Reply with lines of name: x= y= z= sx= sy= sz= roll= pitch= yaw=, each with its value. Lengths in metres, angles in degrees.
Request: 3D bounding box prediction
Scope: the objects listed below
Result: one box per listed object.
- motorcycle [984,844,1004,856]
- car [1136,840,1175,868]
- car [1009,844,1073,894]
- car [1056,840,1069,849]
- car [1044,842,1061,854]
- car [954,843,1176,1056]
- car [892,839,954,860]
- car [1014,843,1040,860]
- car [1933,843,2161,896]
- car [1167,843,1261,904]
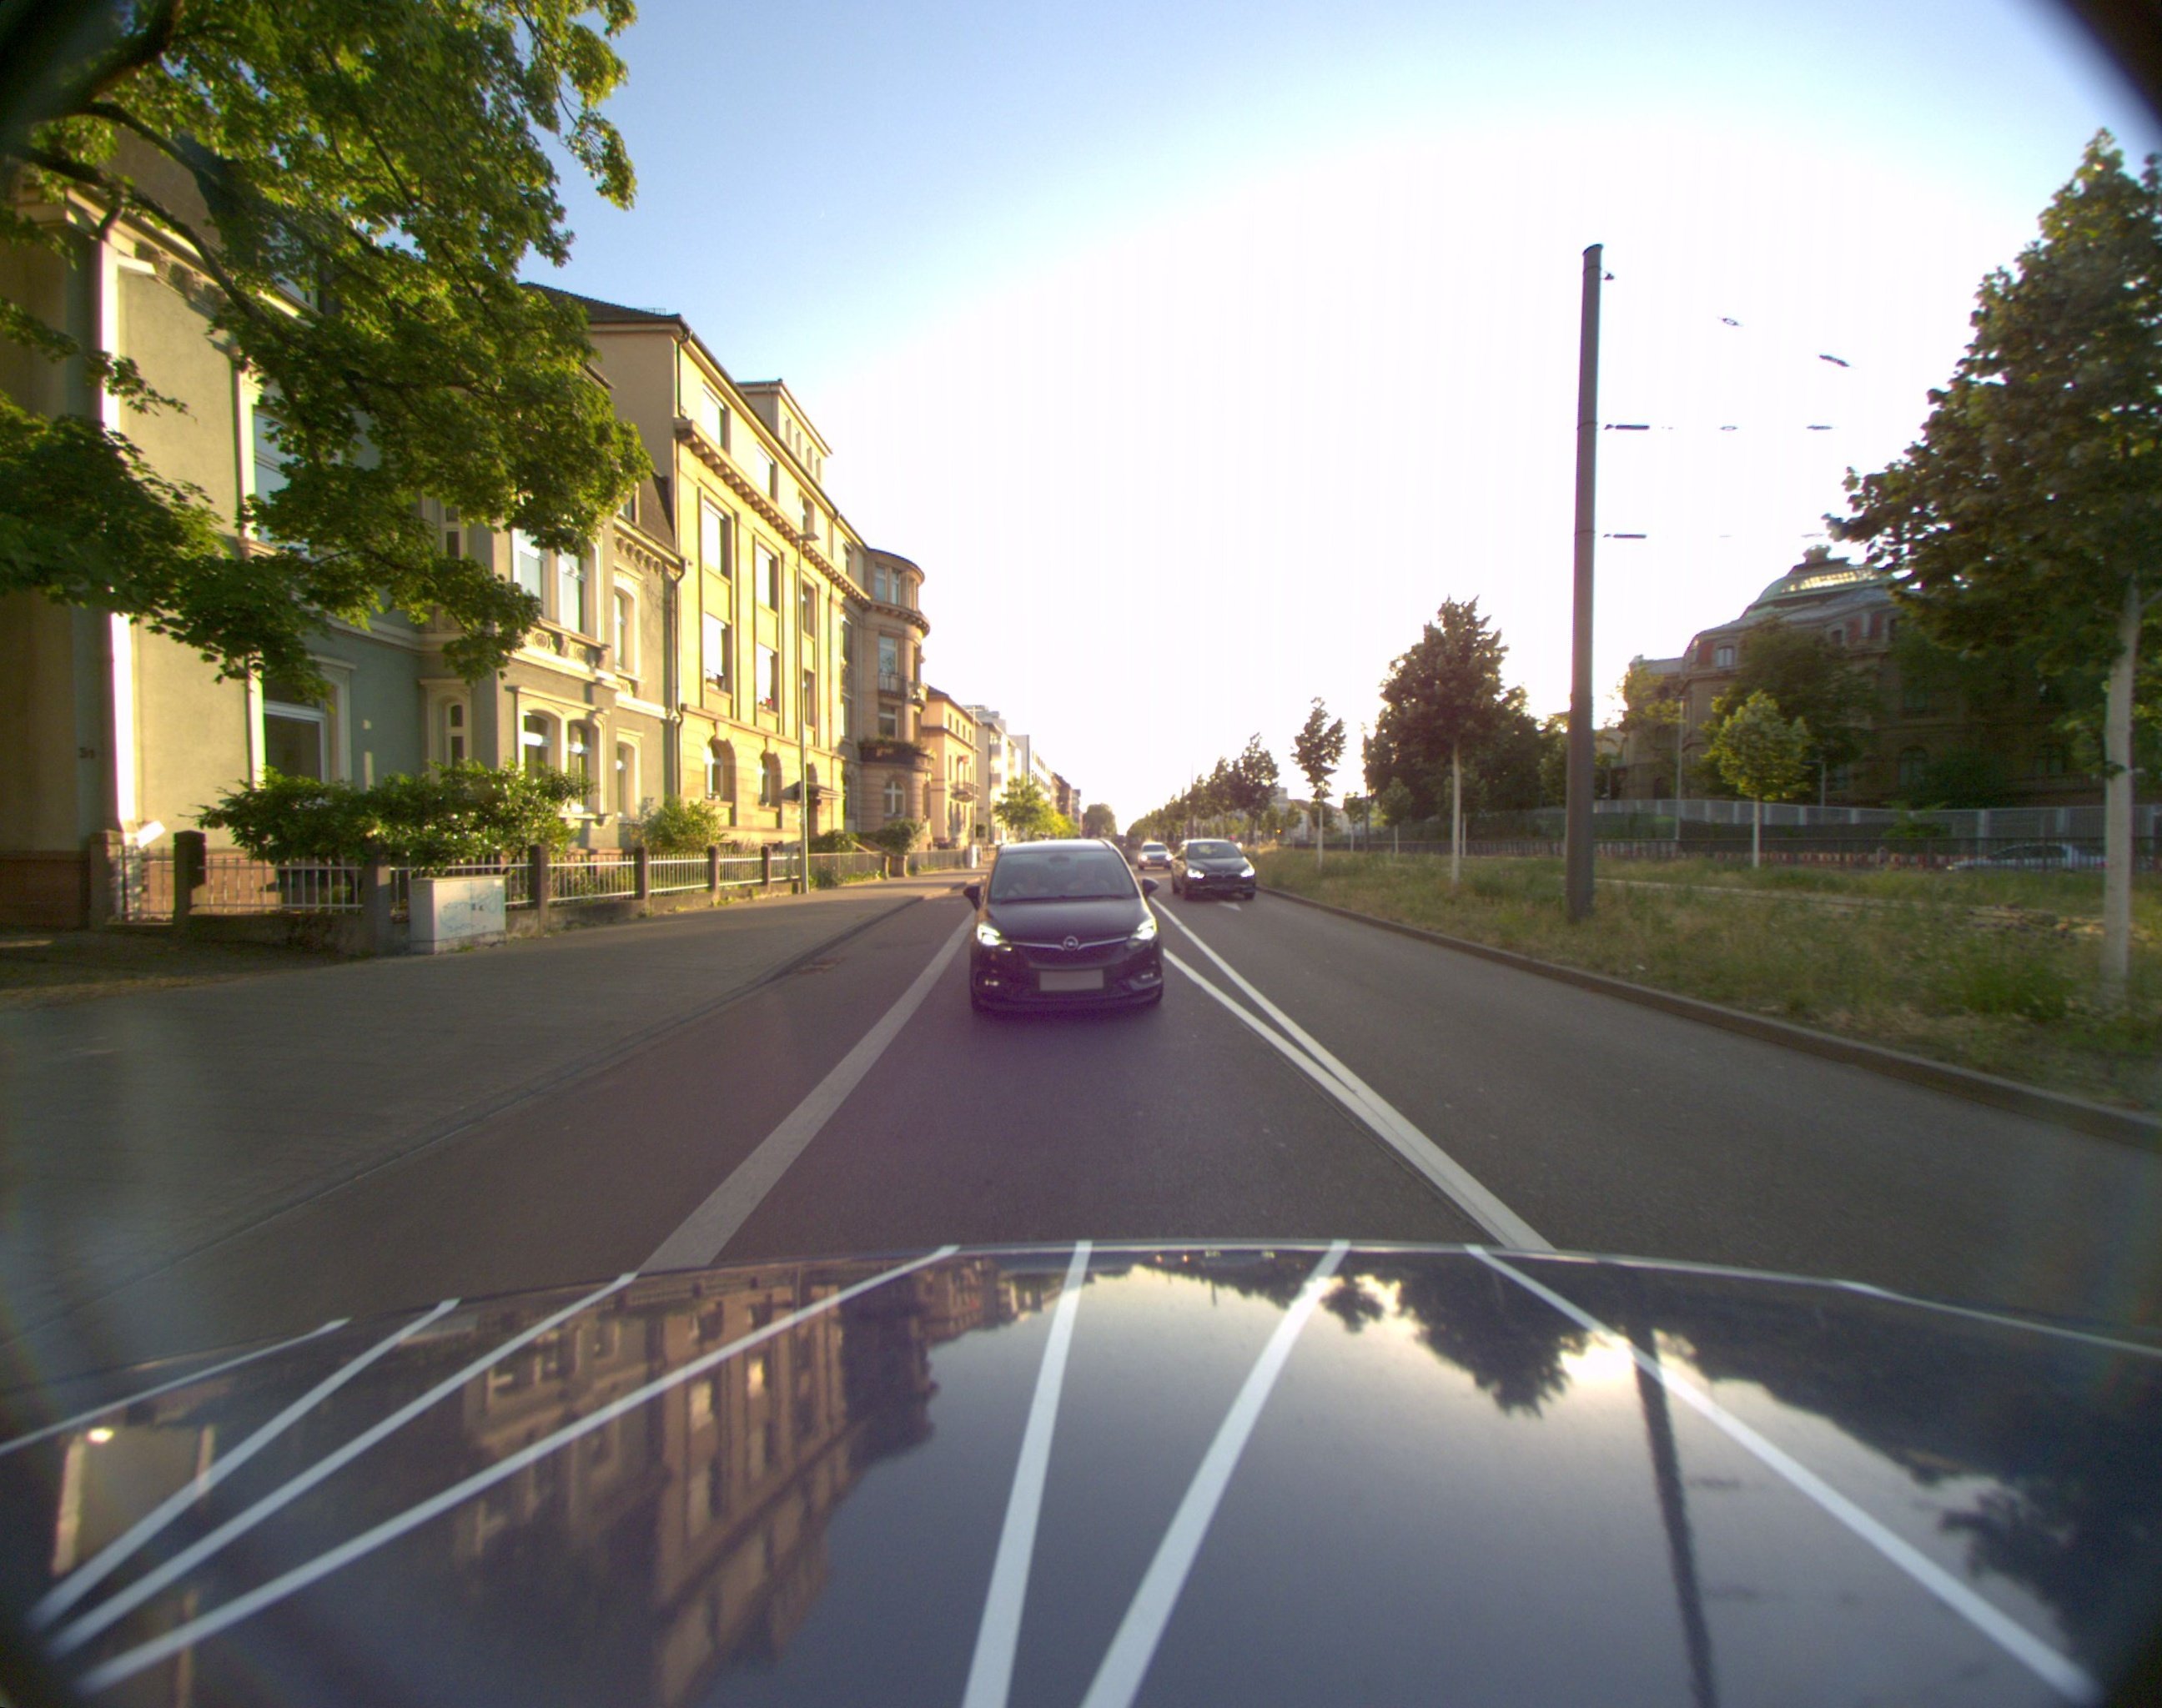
motorcycle: x=-8.344 y=-0.383 z=72.714 sx=1.848 sy=1.091 sz=0.576 roll=-1 pitch=1 yaw=7
car: x=4.136 y=0.019 z=42.694 sx=1.859 sy=1.425 sz=4.843 roll=-2 pitch=0 yaw=3
car: x=-1.261 y=0.459 z=25.243 sx=1.859 sy=1.425 sz=4.842 roll=-2 pitch=0 yaw=-1
car: x=-3.056 y=-1.589 z=124.328 sx=1.937 sy=1.473 sz=4.099 roll=-1 pitch=1 yaw=0
car: x=-3.555 y=-0.750 z=94.485 sx=1.937 sy=1.473 sz=4.099 roll=-1 pitch=1 yaw=0
car: x=-0.283 y=0.735 z=8.576 sx=1.771 sy=1.649 sz=4.849 roll=-1 pitch=1 yaw=-4
car: x=-11.683 y=-0.326 z=56.344 sx=4.096 sy=1.473 sz=1.938 roll=-1 pitch=1 yaw=2
car: x=-4.638 y=-0.249 z=65.429 sx=1.882 sy=1.394 sz=4.099 roll=-1 pitch=1 yaw=0
car: x=30.833 y=0.455 z=24.359 sx=1.998 sy=1.472 sz=4.522 roll=-2 pitch=0 yaw=1
car: x=3.498 y=0.465 z=20.815 sx=1.859 sy=1.425 sz=4.843 roll=-2 pitch=0 yaw=2
